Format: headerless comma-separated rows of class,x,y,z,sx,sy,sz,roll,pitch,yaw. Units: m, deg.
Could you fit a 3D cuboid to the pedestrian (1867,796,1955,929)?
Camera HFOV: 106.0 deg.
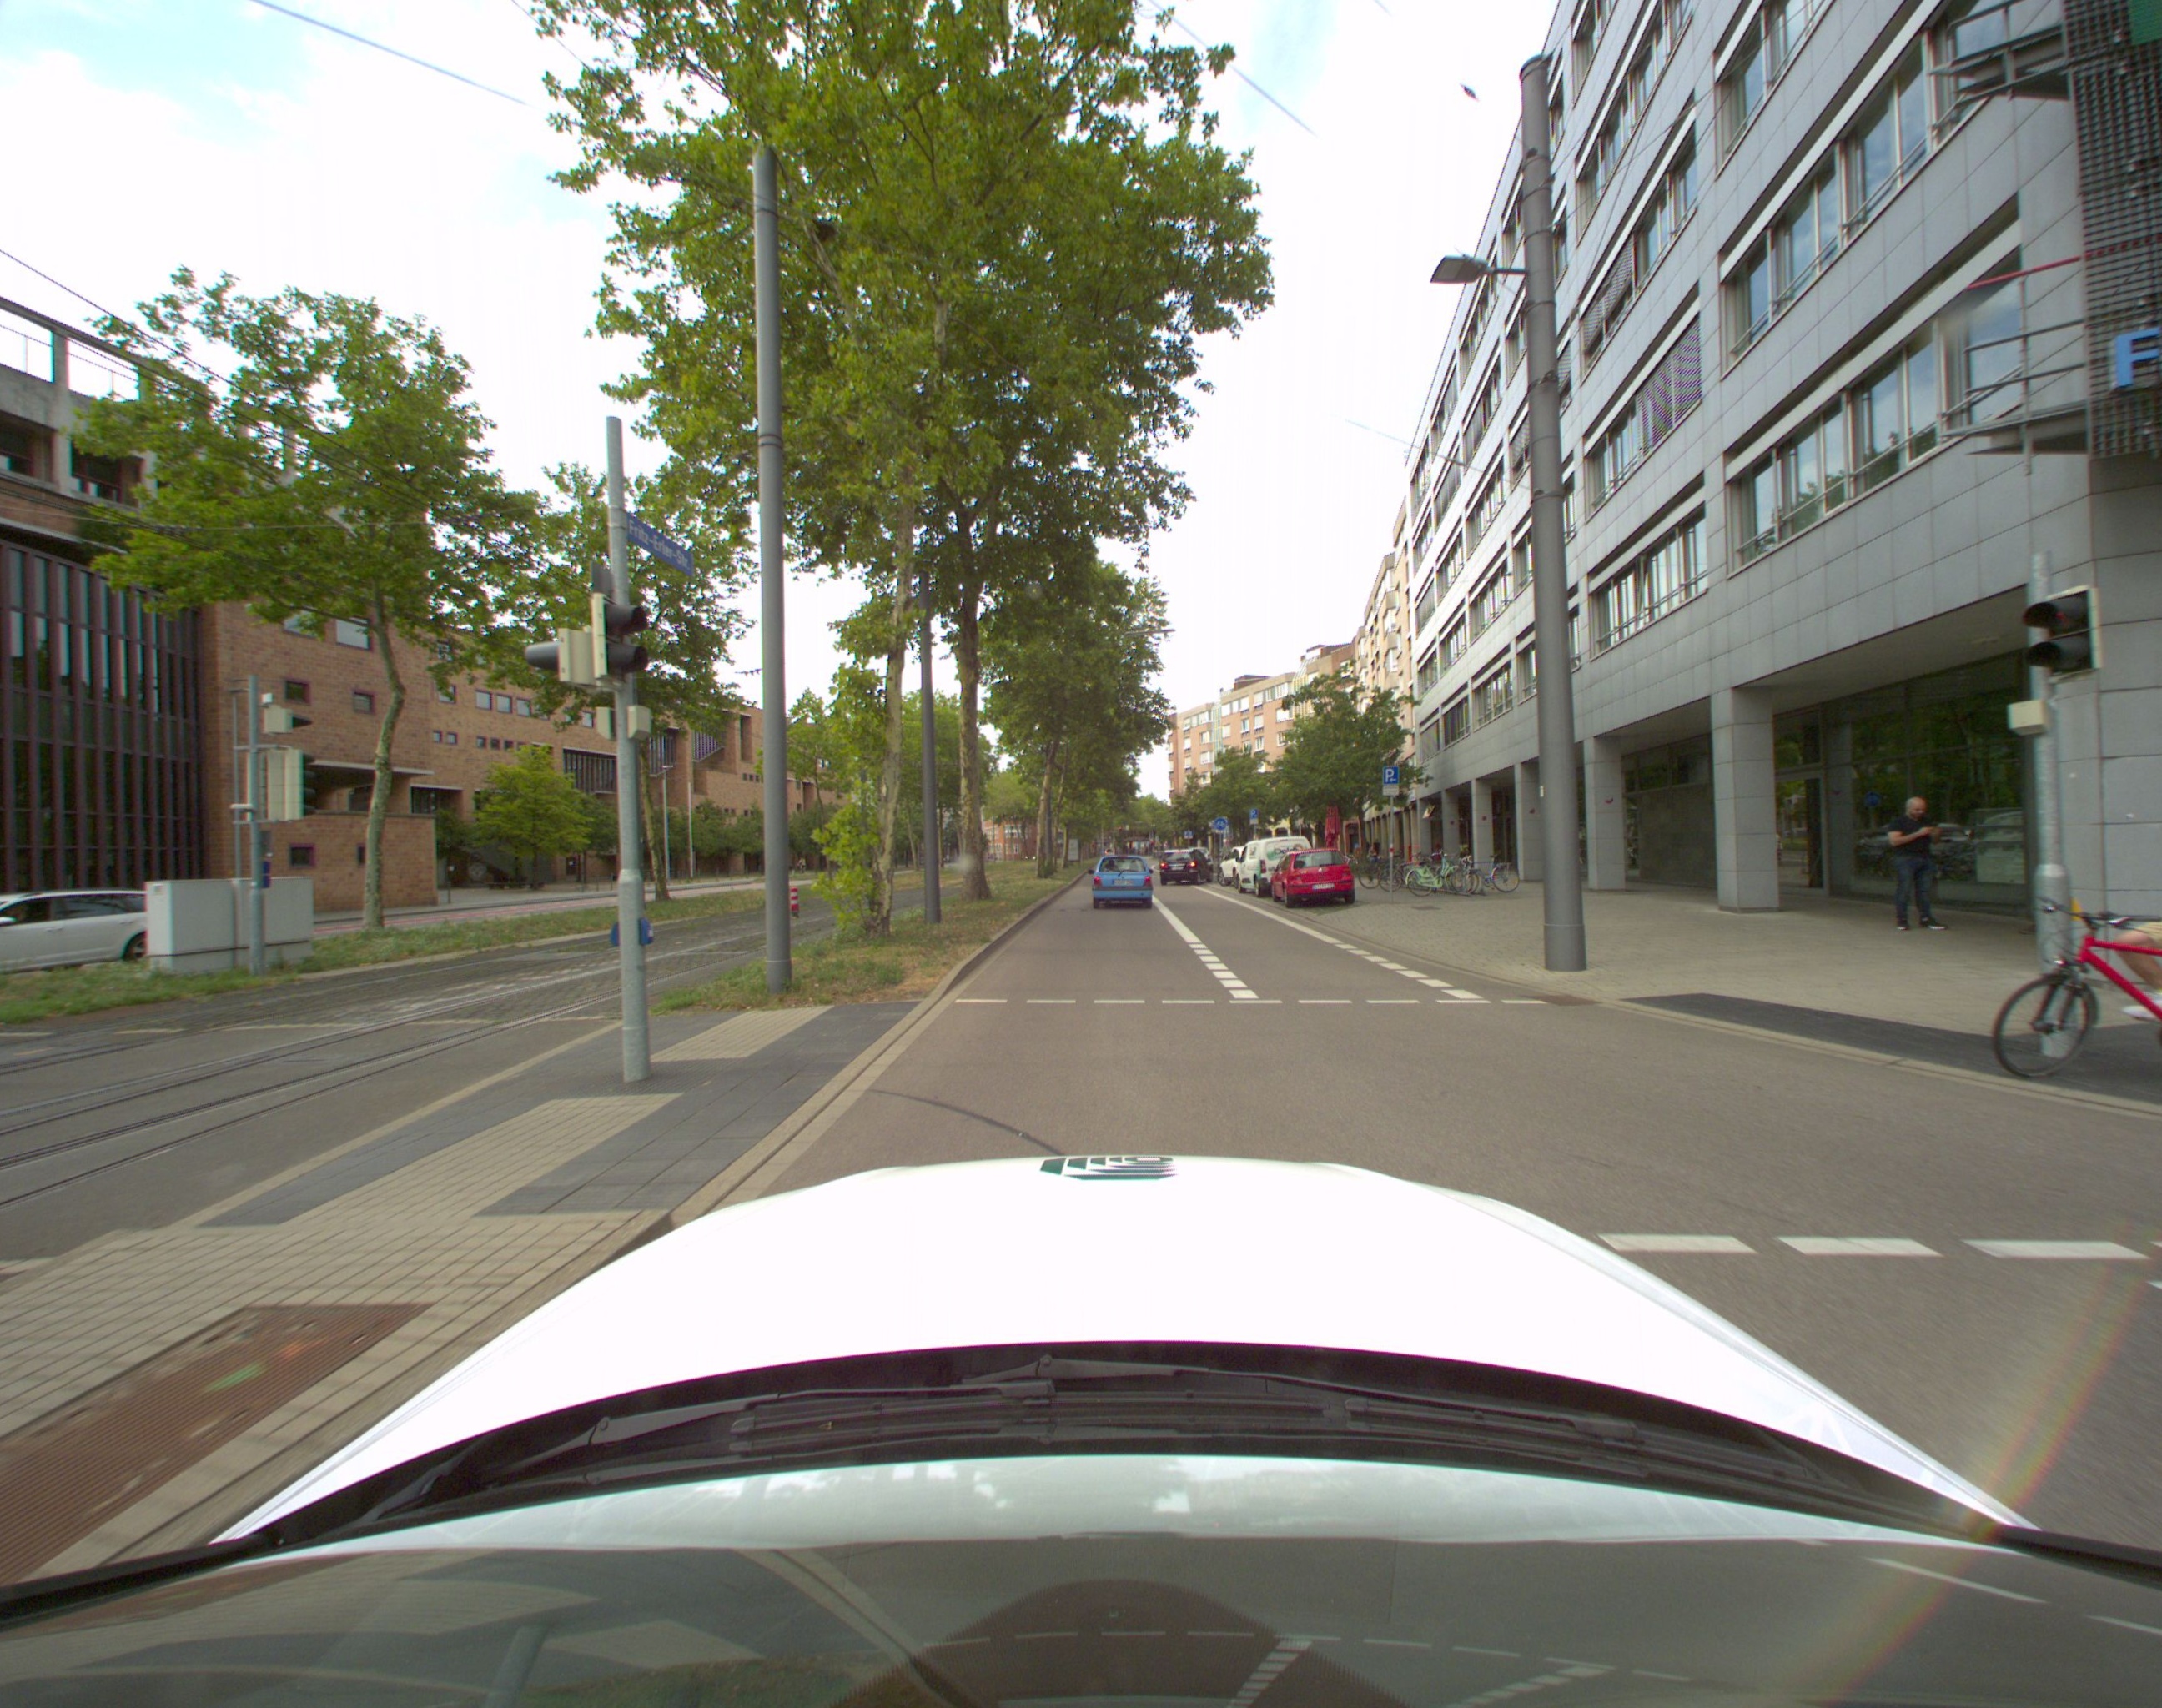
pedestrian,11.194,0.104,11.004,0.542,1.726,0.646,-2,1,13

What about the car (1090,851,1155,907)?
car,1.159,0.637,22.665,1.634,1.386,3.846,-1,0,3

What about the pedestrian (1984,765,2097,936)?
pedestrian,11.825,-0.052,10.059,0.598,2.013,0.677,-2,3,8

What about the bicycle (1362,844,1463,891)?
bicycle,9.595,0.376,23.602,2.622,1.258,0.655,-2,0,2

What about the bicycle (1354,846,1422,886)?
bicycle,9.550,0.373,25.381,1.897,1.197,0.481,-2,0,9

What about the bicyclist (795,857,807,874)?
bicyclist,-27.057,1.146,78.727,0.661,1.590,0.986,-2,0,5

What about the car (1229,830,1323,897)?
car,6.217,0.277,26.466,1.821,1.864,4.647,-4,0,0

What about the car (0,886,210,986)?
car,-17.719,1.371,13.347,1.777,1.421,4.659,-2,0,1

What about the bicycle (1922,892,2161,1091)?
bicycle,6.804,0.839,5.172,1.883,1.138,0.730,-2,0,20

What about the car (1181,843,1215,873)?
car,7.208,0.221,50.559,1.852,1.653,4.170,-3,0,5

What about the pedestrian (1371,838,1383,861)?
pedestrian,20.903,-0.315,57.469,0.705,1.555,0.802,-2,0,15

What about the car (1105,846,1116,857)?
car,5.464,-0.396,149.097,1.924,1.925,4.959,-2,0,2

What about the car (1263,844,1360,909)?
car,5.987,0.515,21.608,1.713,1.432,4.261,-5,0,6

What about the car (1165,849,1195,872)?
car,7.242,0.435,59.789,1.709,1.519,4.205,-4,0,1

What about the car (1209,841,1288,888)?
car,6.694,0.386,33.118,1.990,1.602,4.578,-5,0,-3

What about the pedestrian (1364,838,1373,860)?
pedestrian,20.310,-0.359,57.592,0.508,1.555,0.475,-2,0,15

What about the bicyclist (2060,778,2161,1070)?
bicyclist,7.037,0.400,5.077,0.905,1.764,0.723,-2,0,20

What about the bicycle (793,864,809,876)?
bicycle,-27.046,1.515,78.758,0.665,1.084,2.097,-2,0,5

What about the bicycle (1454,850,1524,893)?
bicycle,10.385,0.443,20.754,1.554,0.987,0.422,-3,1,-3

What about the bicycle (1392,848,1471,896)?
bicycle,9.102,0.448,21.158,1.846,1.138,0.492,-3,0,-5

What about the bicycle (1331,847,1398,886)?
bicycle,9.510,0.417,27.335,2.042,1.197,0.481,-2,0,9

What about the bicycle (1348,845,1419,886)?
bicycle,9.613,0.364,25.914,2.042,1.197,0.481,-2,0,9

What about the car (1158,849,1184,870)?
car,7.136,0.444,64.943,1.732,1.519,4.405,-3,0,3

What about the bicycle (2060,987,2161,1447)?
bicycle,3.005,0.945,1.220,0.592,1.138,2.092,-2,0,3

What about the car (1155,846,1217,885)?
car,4.948,0.500,38.032,1.759,1.576,4.328,-4,0,22
